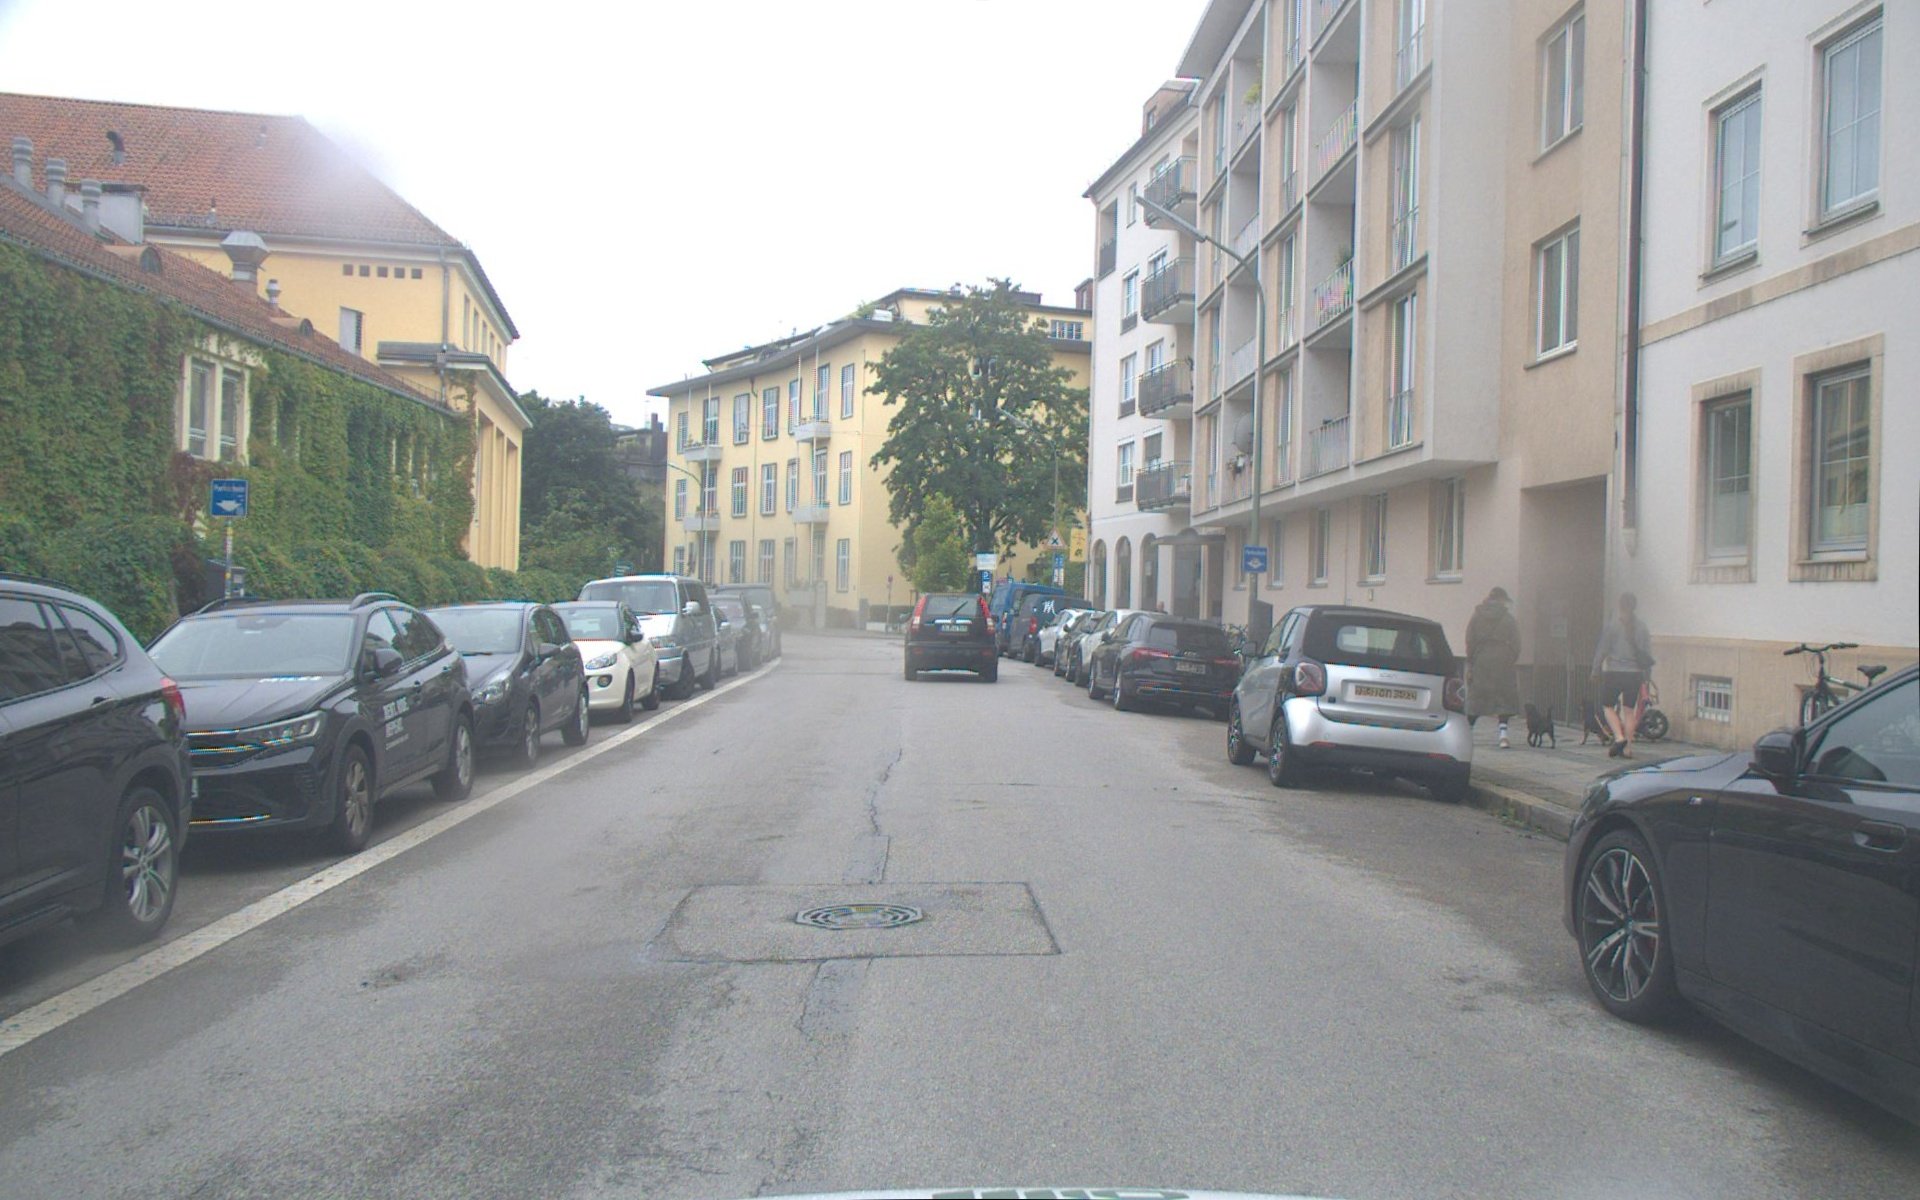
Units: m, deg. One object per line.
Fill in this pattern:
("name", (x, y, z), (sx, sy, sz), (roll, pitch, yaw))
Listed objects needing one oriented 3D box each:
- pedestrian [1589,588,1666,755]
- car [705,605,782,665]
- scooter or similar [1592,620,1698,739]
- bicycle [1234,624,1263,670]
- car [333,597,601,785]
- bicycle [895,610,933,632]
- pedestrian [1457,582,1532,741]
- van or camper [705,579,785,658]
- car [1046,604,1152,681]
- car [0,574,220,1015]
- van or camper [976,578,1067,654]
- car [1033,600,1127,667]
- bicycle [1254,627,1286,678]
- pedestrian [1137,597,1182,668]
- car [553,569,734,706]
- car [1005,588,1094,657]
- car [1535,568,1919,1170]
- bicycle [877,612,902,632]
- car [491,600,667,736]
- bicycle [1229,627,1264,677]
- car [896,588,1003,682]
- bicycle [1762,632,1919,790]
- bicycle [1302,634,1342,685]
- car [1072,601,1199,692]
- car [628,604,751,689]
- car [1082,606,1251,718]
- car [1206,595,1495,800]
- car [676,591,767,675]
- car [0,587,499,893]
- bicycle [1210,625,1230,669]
("pedestrian", (6.558, 0.688, 16.267), (0.520, 1.612, 0.560), (0, 0, -2))
("car", (-5.482, 0.869, 42.289), (1.587, 1.402, 4.069), (-1, 0, -3))
("scooter or similar", (7.566, 0.881, 18.300), (0.588, 1.274, 1.036), (0, -3, -10))
("bicycle", (6.743, 1.095, 38.727), (0.382, 1.041, 1.401), (0, 0, -2))
("car", (-4.539, 0.758, 15.782), (1.547, 1.481, 3.902), (-2, 1, -3))
("bicycle", (-2.500, 1.143, 90.085), (2.176, 1.136, 0.607), (1, 0, 40))
("pedestrian", (5.754, 0.648, 17.822), (0.584, 1.683, 0.630), (0, 0, -2))
("van or camper", (-6.048, 0.477, 46.899), (1.922, 2.101, 4.750), (0, 0, -4))
("car", (2.969, 0.877, 36.162), (1.704, 1.525, 4.492), (0, 0, -3))
("car", (-4.294, 0.729, 5.701), (1.746, 1.564, 4.192), (-3, 0, -3))
("van or camper", (1.886, 0.486, 52.568), (2.021, 2.270, 5.429), (0, 0, -7))
("car", (2.944, 0.789, 41.404), (1.705, 1.564, 4.269), (0, 0, -5))
("bicycle", (6.675, 1.118, 35.675), (0.382, 1.041, 1.401), (0, 0, -2))
("pedestrian", (4.948, 0.799, 41.119), (0.880, 1.717, 1.319), (0, 0, -3))
("car", (-4.910, 0.545, 26.317), (1.953, 1.908, 4.757), (-2, 0, -1))
("car", (2.471, 0.594, 46.860), (1.925, 1.848, 4.932), (0, 0, -4))
("car", (3.438, 0.750, 4.478), (1.819, 1.571, 4.813), (3, 0, -3))
("bicycle", (-3.923, 1.221, 92.141), (0.600, 1.091, 2.200), (0, 0, -25))
("car", (-4.768, 0.786, 21.130), (1.547, 1.518, 3.727), (-2, 0, -4))
("bicycle", (6.177, 1.109, 35.669), (0.473, 1.041, 1.401), (0, 0, -2))
("car", (-0.168, 0.638, 32.800), (1.954, 1.724, 4.380), (0, 0, 1))
("bicycle", (7.578, 0.882, 13.916), (0.645, 1.183, 2.027), (0, 0, -1))
("bicycle", (7.137, 1.160, 32.611), (0.435, 0.952, 1.401), (0, 0, -2))
("car", (3.216, 0.819, 31.016), (1.704, 1.525, 4.217), (1, 0, -3))
("car", (-5.148, 0.846, 31.972), (1.667, 1.447, 4.424), (-2, 0, -1))
("car", (3.084, 0.887, 25.576), (1.760, 1.445, 4.480), (3, 0, -3))
("car", (3.494, 0.791, 15.513), (1.638, 1.561, 3.880), (4, 0, -1))
("car", (-5.287, 0.678, 37.160), (1.587, 1.760, 4.422), (0, 0, -3))
("car", (-4.431, 0.733, 10.966), (1.746, 1.564, 4.146), (-2, 1, -3))
("bicycle", (6.346, 1.142, 40.392), (0.414, 1.041, 1.199), (0, 0, 5))
